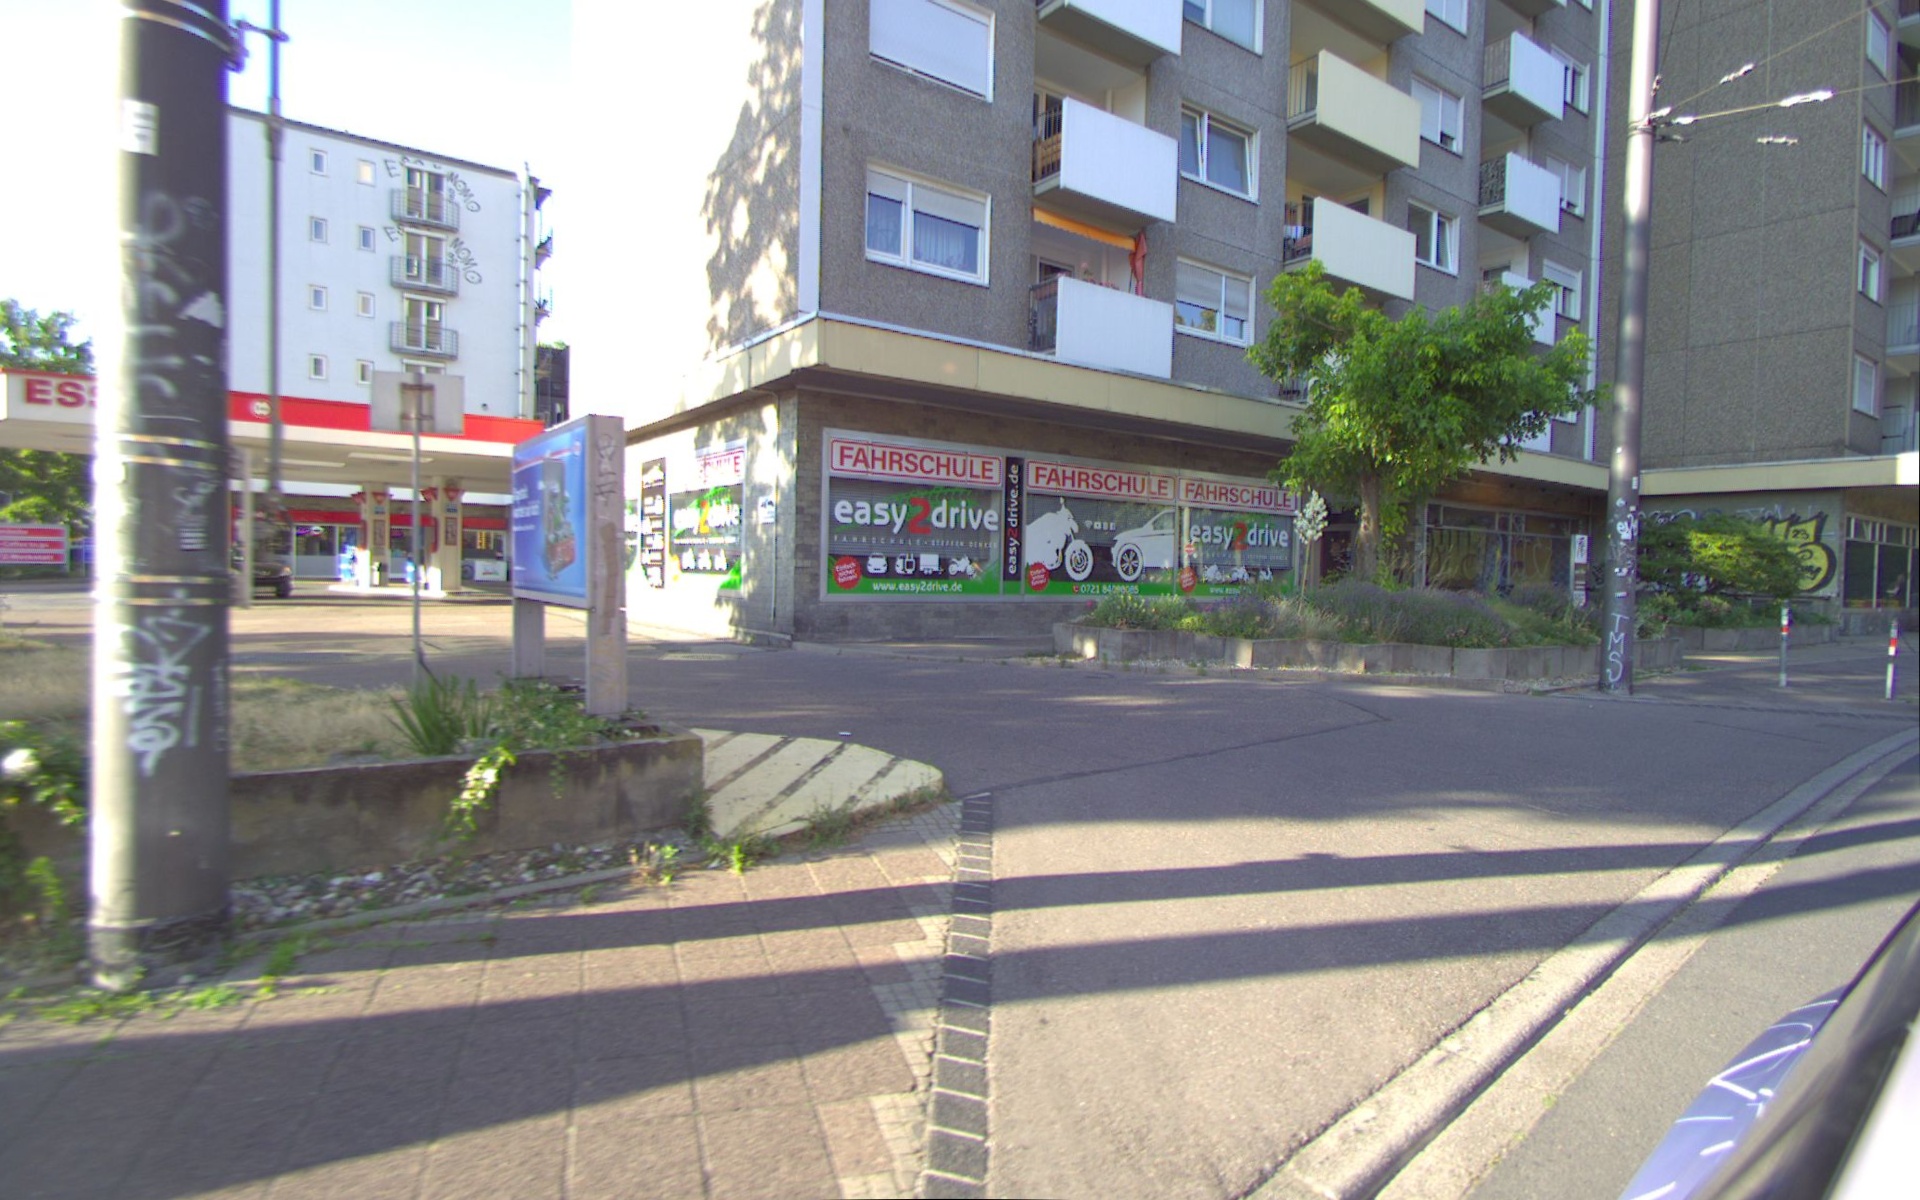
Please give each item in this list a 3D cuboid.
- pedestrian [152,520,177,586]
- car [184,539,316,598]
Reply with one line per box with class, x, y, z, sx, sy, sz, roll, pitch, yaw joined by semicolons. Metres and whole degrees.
pedestrian;-21.005;-1.230;26.725;0.418;1.726;0.415;2;2;39
car;-19.440;-0.900;27.666;3.982;1.370;1.972;5;4;39
